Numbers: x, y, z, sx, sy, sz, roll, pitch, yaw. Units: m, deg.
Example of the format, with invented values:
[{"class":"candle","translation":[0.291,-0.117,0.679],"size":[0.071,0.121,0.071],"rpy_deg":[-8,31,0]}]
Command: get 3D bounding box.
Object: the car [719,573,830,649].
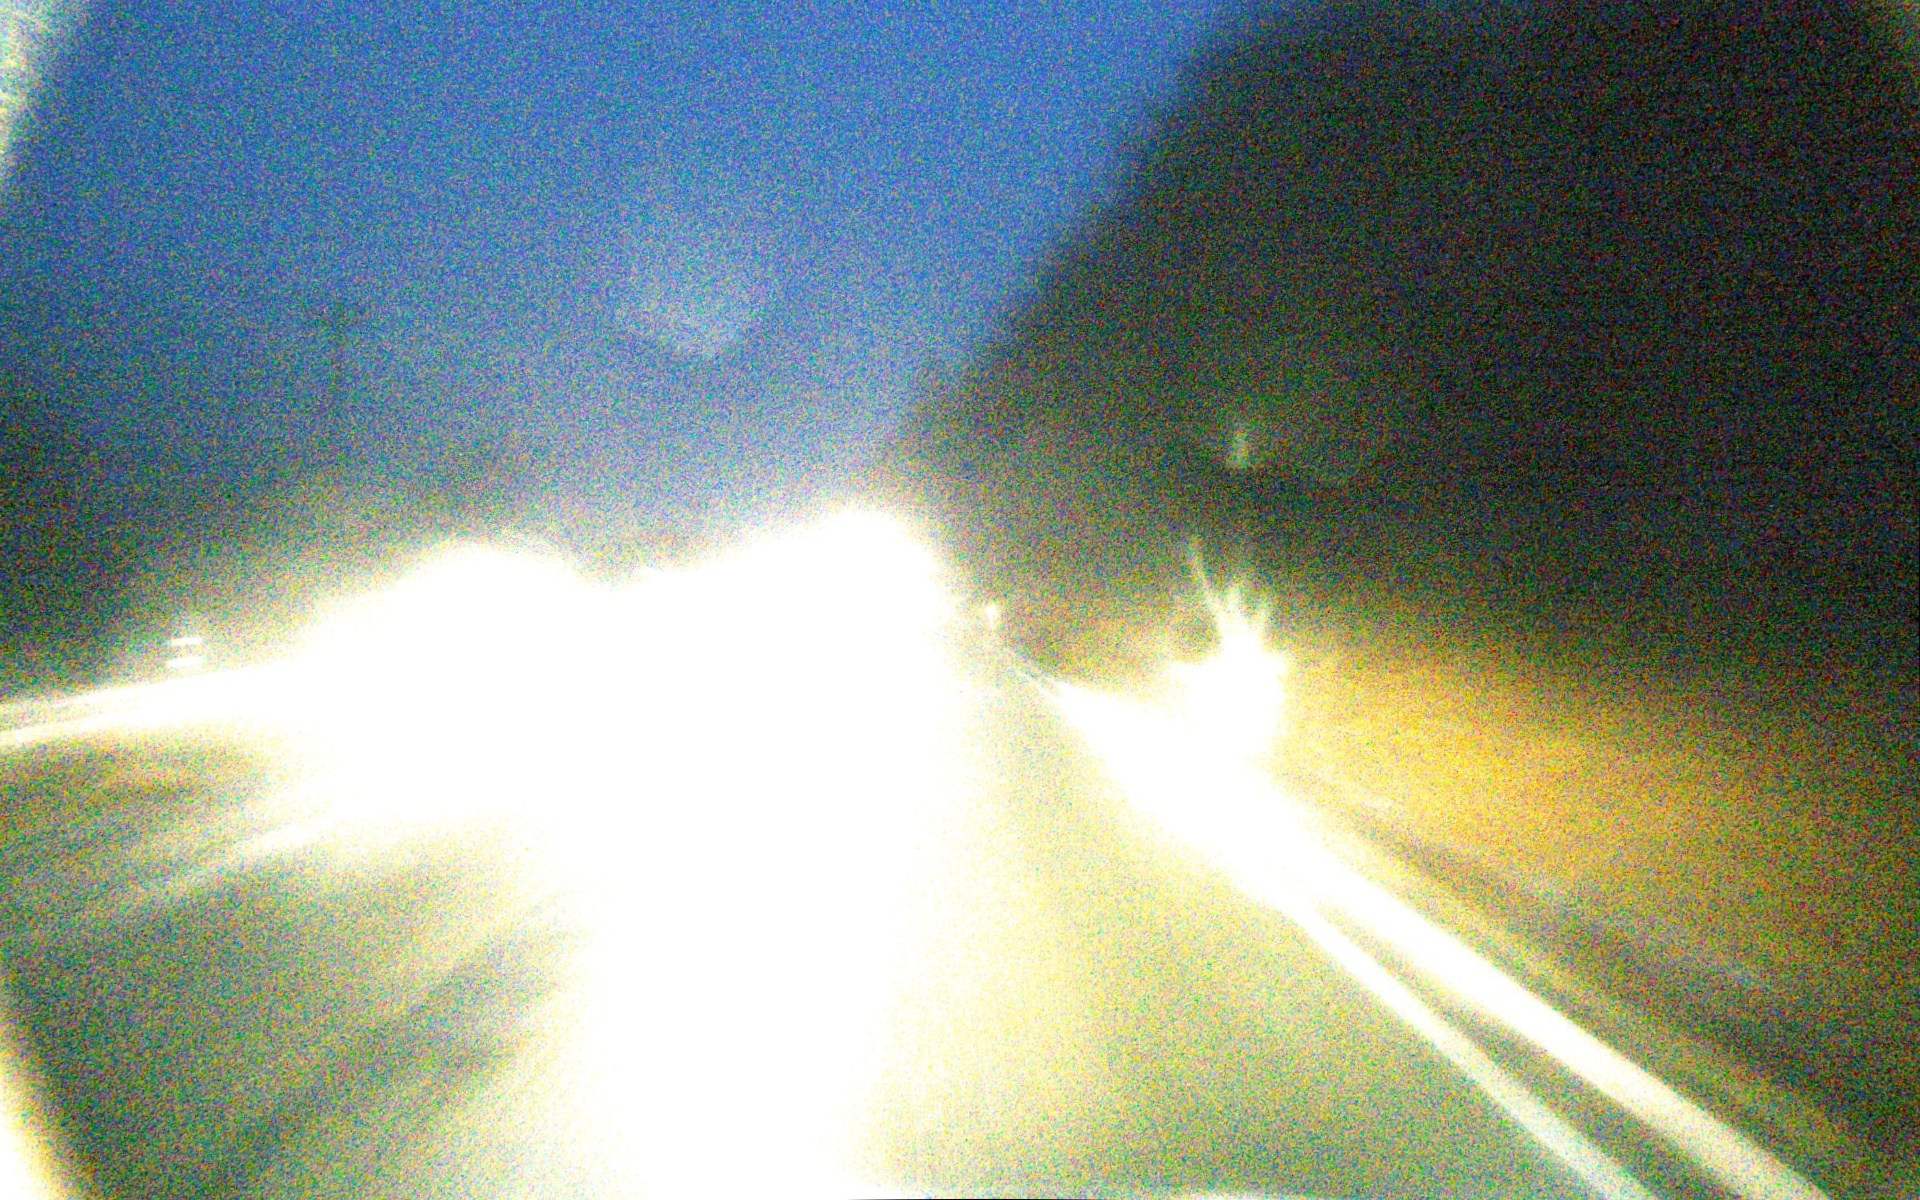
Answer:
[{"class":"car","translation":[-3.920,0.209,35.637],"size":[1.953,1.473,4.428],"rpy_deg":[2,0,-1]}]
